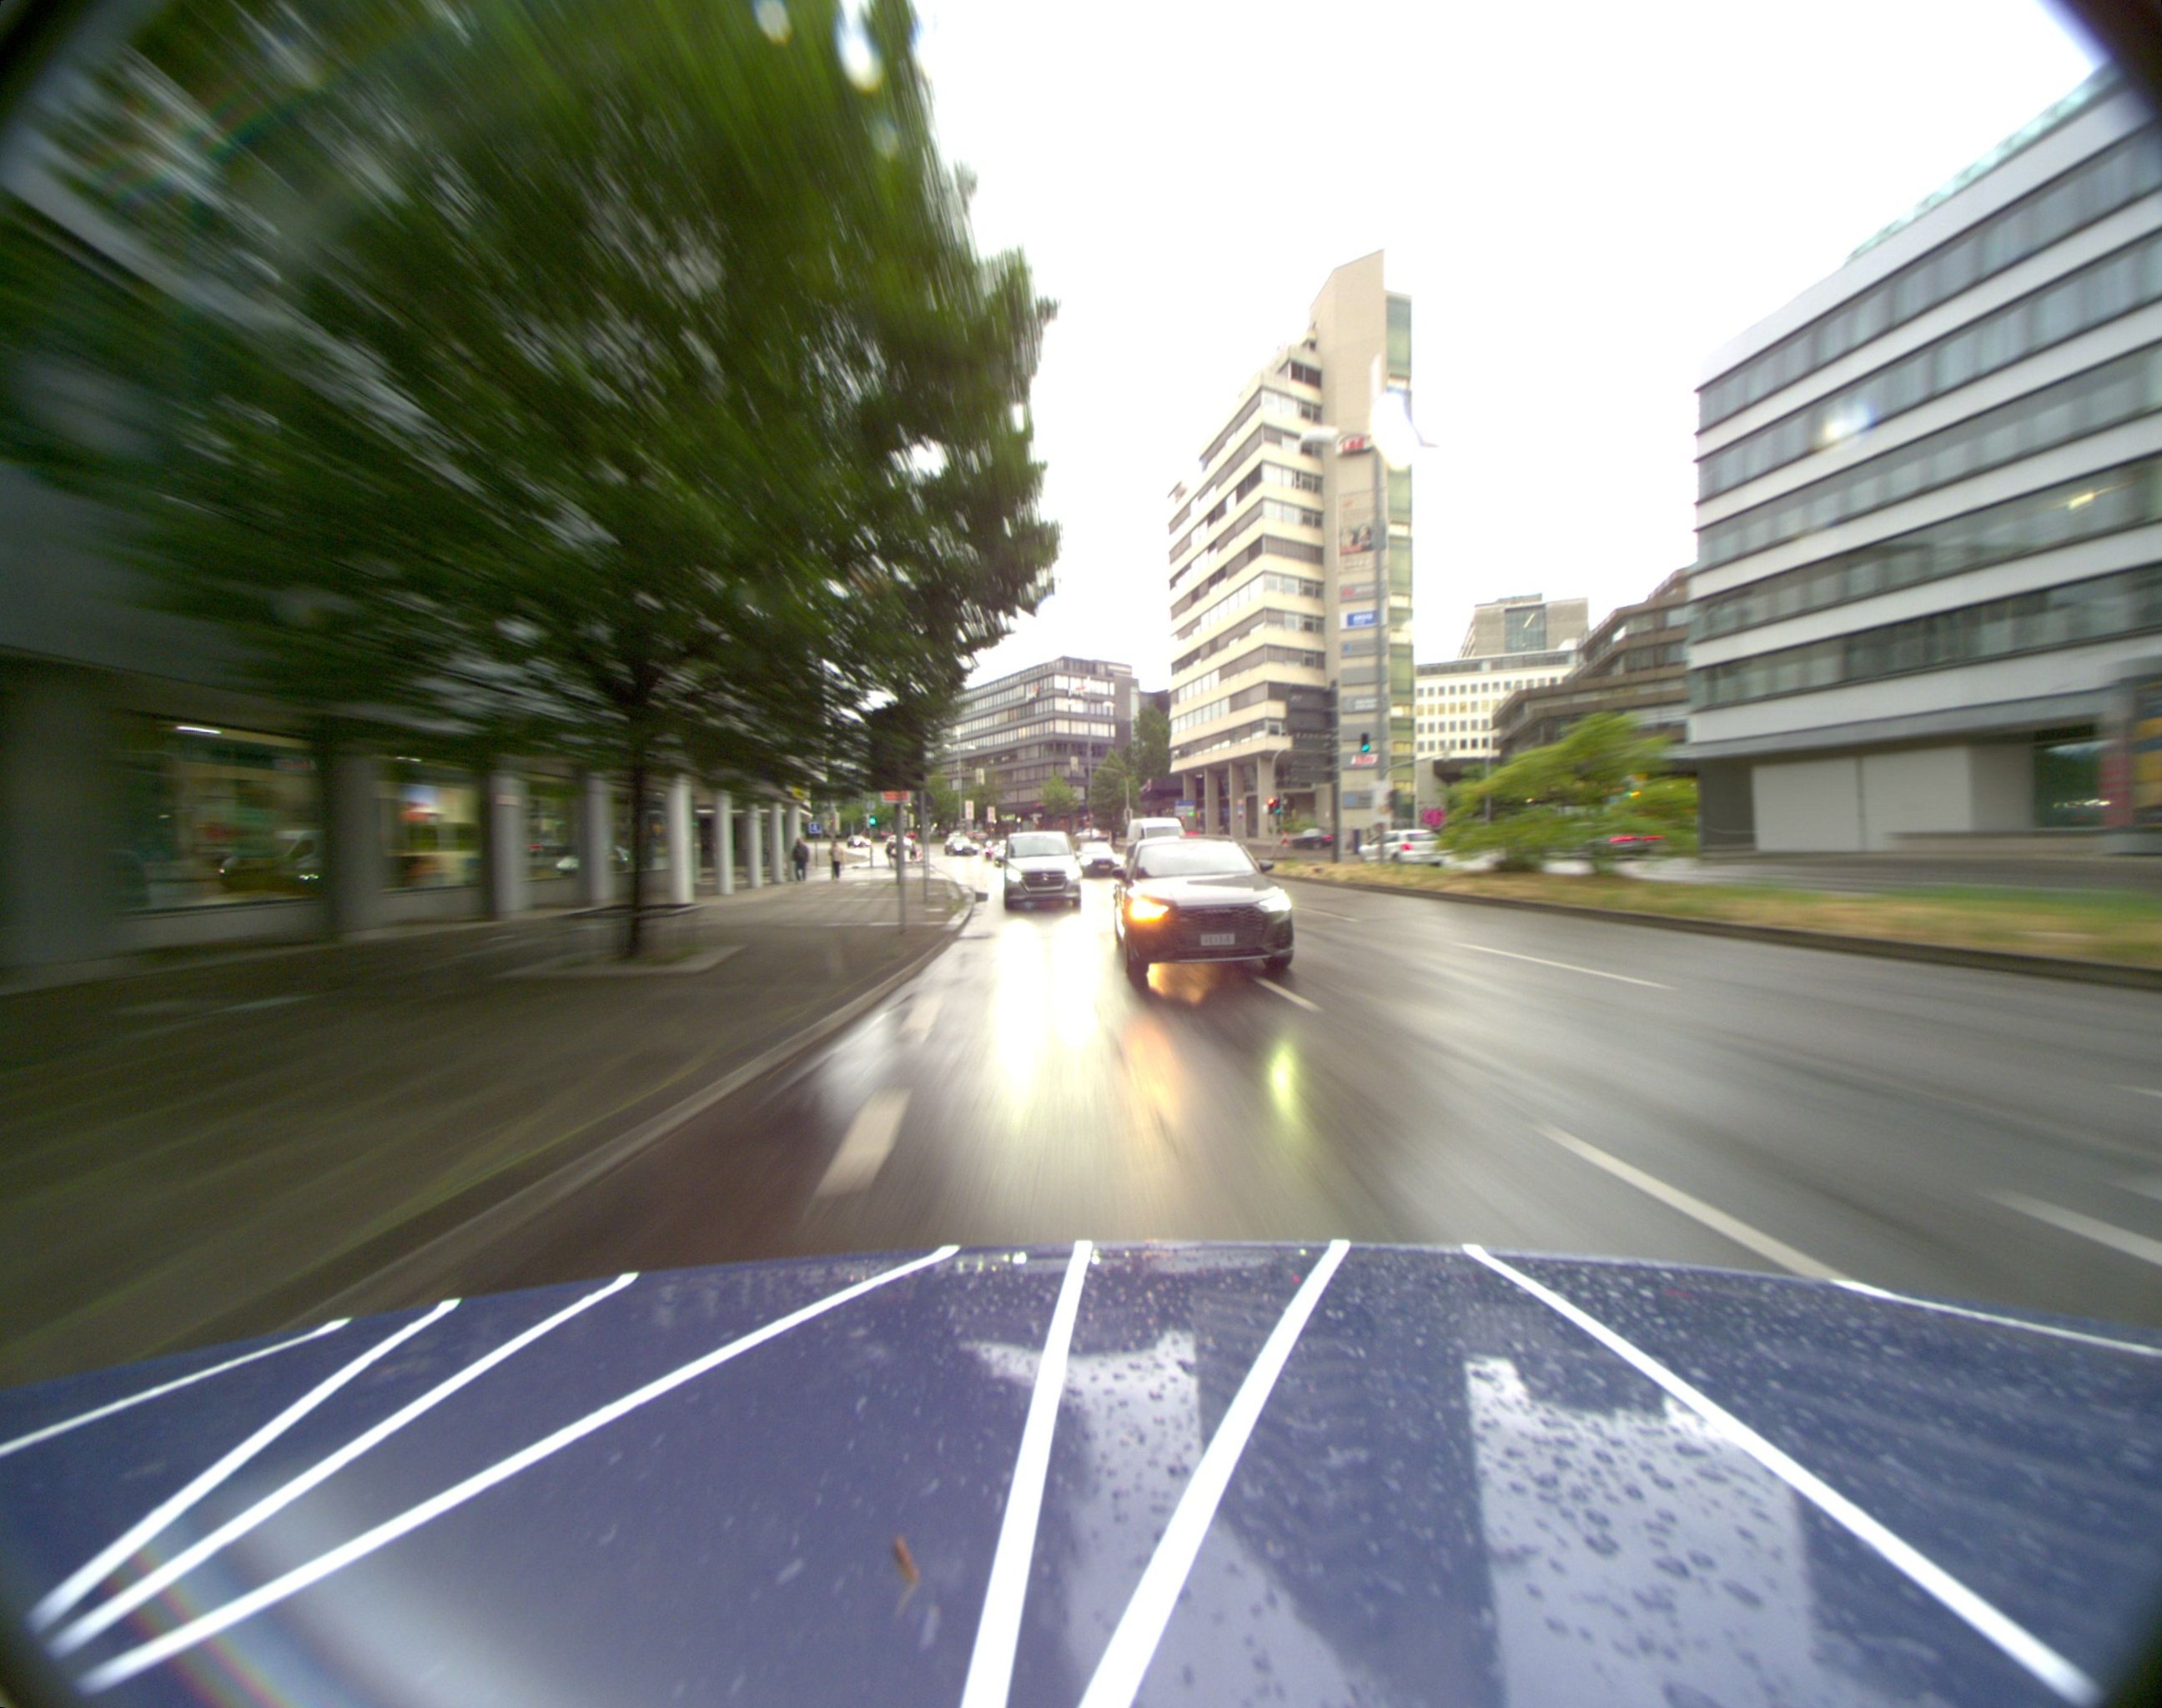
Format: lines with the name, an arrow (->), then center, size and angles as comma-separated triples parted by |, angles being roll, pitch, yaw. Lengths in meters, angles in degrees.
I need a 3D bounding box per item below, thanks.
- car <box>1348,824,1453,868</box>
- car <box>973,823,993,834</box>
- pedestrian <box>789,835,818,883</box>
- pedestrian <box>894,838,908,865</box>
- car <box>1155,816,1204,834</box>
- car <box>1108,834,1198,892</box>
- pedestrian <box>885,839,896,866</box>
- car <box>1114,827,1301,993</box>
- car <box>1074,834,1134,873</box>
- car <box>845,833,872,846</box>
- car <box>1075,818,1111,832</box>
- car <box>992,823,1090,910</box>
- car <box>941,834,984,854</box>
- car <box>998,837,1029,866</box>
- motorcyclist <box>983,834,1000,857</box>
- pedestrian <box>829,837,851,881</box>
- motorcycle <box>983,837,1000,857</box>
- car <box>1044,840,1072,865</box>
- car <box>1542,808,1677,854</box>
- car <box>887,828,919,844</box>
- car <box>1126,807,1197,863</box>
car -> 11.727, -0.351, 28.209 | 1.757, 1.456, 3.966 | -3, 3, -9
car -> -14.280, -3.646, 110.292 | 1.745, 1.456, 3.991 | -4, 3, -24
pedestrian -> -10.690, 0.189, 29.285 | 0.794, 1.772, 0.894 | -3, 1, -8
pedestrian -> -11.049, -0.136, 46.679 | 0.654, 1.589, 1.057 | -3, 3, -11
car -> 9.279, -2.699, 72.117 | 2.002, 1.576, 5.157 | -4, 3, -28
car -> 2.071, 0.187, 23.155 | 1.775, 1.471, 4.122 | -3, 3, -8
pedestrian -> -11.670, -0.115, 46.617 | 0.527, 1.589, 0.730 | -3, 3, -11
car -> 1.402, 0.495, 9.783 | 1.801, 1.543, 4.387 | -2, 3, 4
car -> 0.912, -0.064, 32.424 | 1.905, 1.394, 4.237 | -3, 3, -7
car -> -26.907, -1.723, 91.779 | 1.896, 1.478, 3.989 | -4, 3, -33
car -> 1.333, -3.301, 87.895 | 1.791, 1.509, 5.239 | -4, 3, -29
car -> -0.893, 0.197, 20.087 | 2.059, 1.882, 5.047 | -2, 3, 2
car -> -9.787, -0.853, 62.577 | 1.896, 1.478, 3.989 | -4, 3, -35
car -> -4.023, -0.205, 45.211 | 1.690, 1.478, 3.996 | -3, 3, -5
motorcyclist -> -6.306, -0.623, 53.447 | 1.152, 1.502, 1.196 | -3, 3, -7
pedestrian -> -10.021, 0.200, 31.613 | 0.641, 1.772, 0.879 | -3, 1, -5
motorcycle -> -6.302, -0.493, 53.361 | 1.130, 1.260, 3.370 | -3, 3, -7
car -> -1.558, -0.142, 51.711 | 1.785, 1.500, 3.997 | -2, 3, -2
car -> 20.969, -0.887, 30.427 | 1.999, 1.609, 4.478 | -3, 1, -6
car -> -18.768, -1.900, 79.990 | 1.896, 1.478, 3.989 | -4, 3, -33
car -> 3.765, -0.975, 36.780 | 2.260, 2.372, 5.714 | -3, 3, -5
